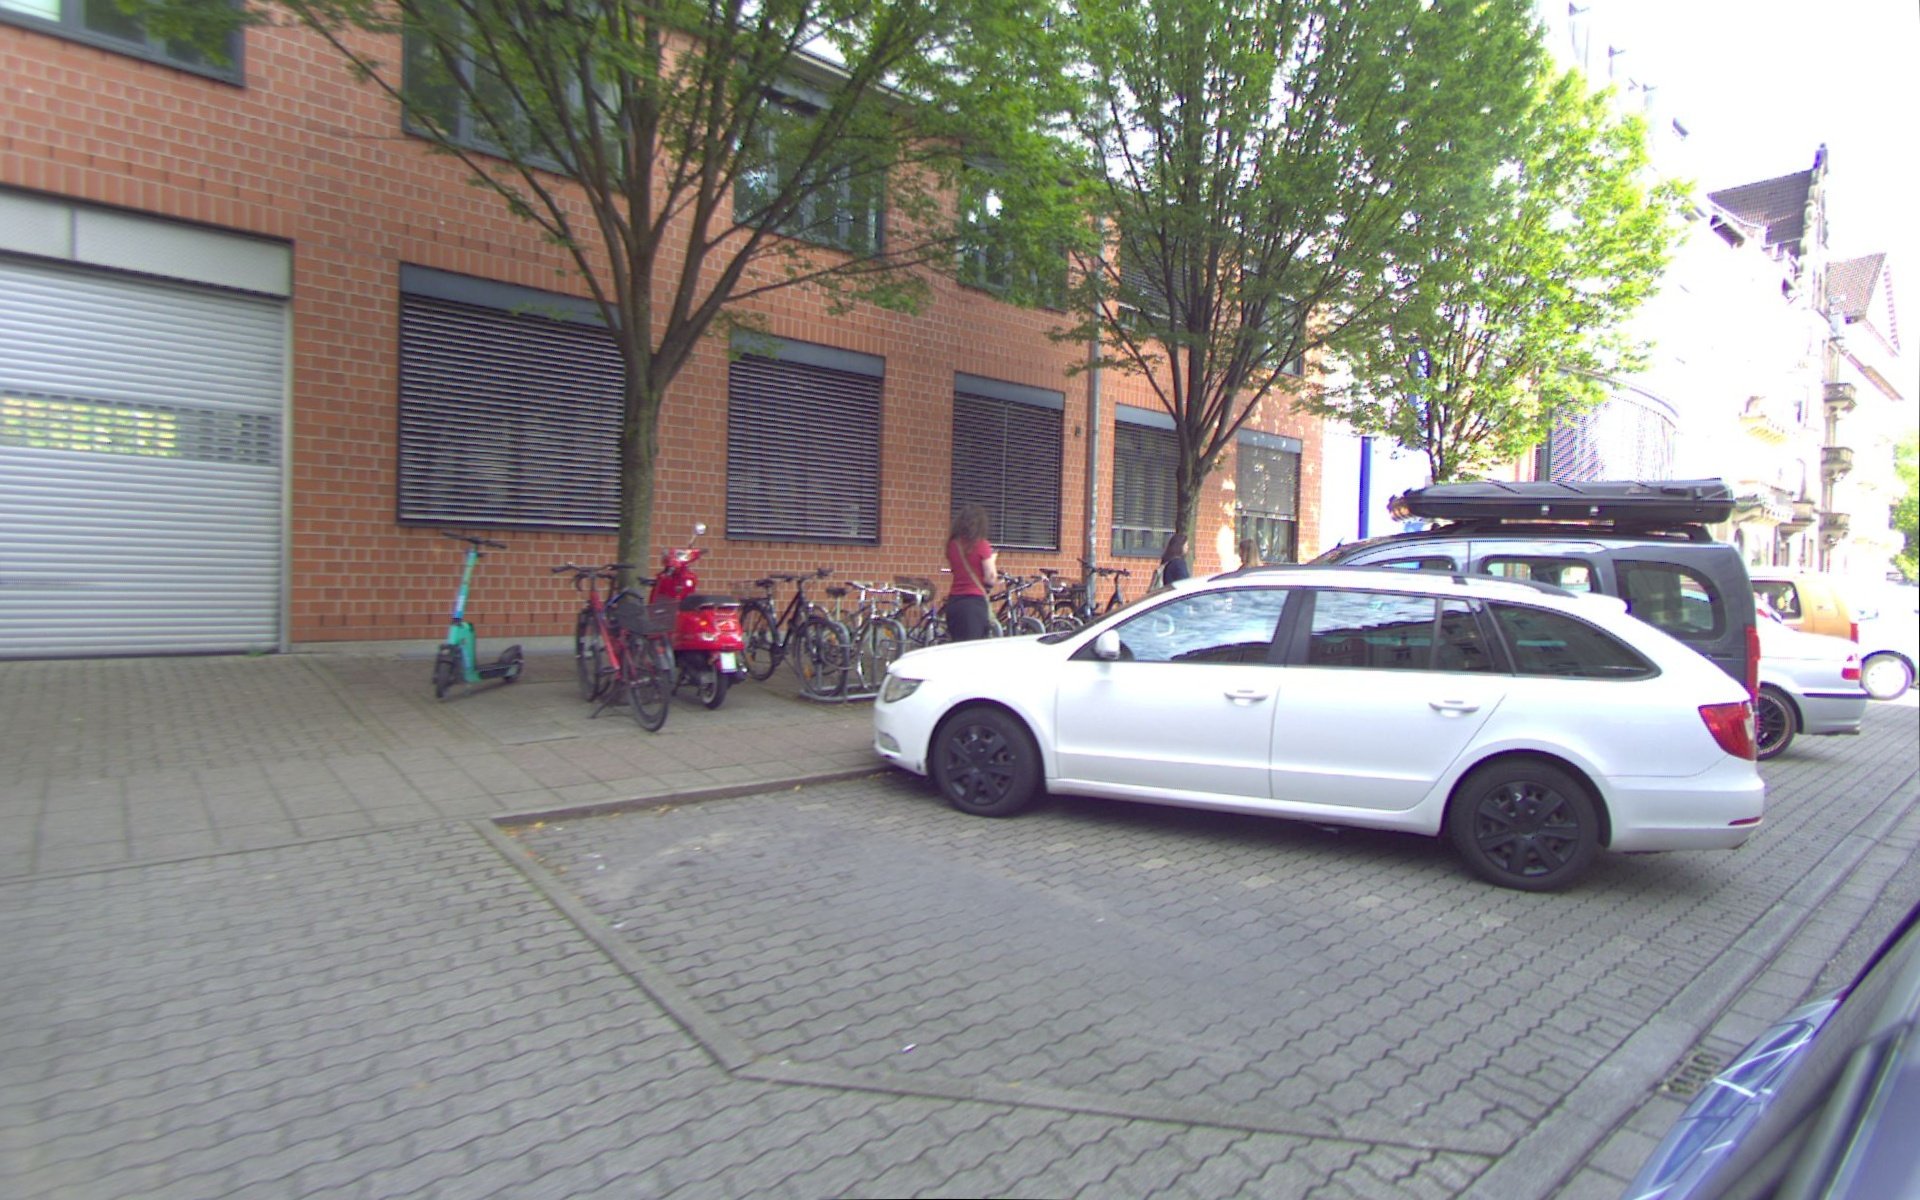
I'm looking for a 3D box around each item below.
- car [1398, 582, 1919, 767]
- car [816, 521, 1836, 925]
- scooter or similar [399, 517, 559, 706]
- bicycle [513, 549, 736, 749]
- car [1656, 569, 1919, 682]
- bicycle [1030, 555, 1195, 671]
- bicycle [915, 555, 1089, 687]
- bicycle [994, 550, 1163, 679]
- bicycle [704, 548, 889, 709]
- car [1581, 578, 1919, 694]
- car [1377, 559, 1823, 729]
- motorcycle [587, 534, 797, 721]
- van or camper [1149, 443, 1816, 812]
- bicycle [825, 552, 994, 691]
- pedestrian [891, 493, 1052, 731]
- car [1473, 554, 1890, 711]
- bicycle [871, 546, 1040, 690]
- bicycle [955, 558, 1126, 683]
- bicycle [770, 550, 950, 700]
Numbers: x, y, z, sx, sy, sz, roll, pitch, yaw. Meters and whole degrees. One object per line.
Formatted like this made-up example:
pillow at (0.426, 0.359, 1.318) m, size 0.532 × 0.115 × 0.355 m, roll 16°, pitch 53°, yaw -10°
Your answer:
car at (6.236, 0.566, 9.230) m, size 3.947 × 1.417 × 1.652 m, roll 1°, pitch 1°, yaw 19°
car at (1.723, 0.435, 5.981) m, size 4.745 × 1.562 × 1.861 m, roll 4°, pitch 3°, yaw 18°
scooter or similar at (-3.751, 0.033, 7.985) m, size 0.515 × 1.329 × 1.321 m, roll 4°, pitch 5°, yaw 4°
bicycle at (-2.500, 0.270, 7.359) m, size 0.806 × 1.108 × 2.026 m, roll 0°, pitch 6°, yaw -41°
car at (13.963, 0.368, 16.442) m, size 3.947 × 1.694 × 1.916 m, roll 1°, pitch 1°, yaw 19°
bicycle at (1.754, 0.111, 11.894) m, size 0.608 × 1.125 × 1.895 m, roll 0°, pitch 6°, yaw -42°
bicycle at (0.393, 0.175, 10.602) m, size 0.608 × 1.133 × 1.895 m, roll 0°, pitch 6°, yaw -42°
bicycle at (1.301, 0.117, 11.468) m, size 0.608 × 1.219 × 1.895 m, roll 0°, pitch 6°, yaw -42°
bicycle at (-1.488, 0.191, 8.908) m, size 0.608 × 1.154 × 1.920 m, roll 0°, pitch 6°, yaw -42°
car at (11.710, 0.458, 14.911) m, size 3.947 × 1.527 × 1.988 m, roll 1°, pitch 1°, yaw 18°
car at (6.926, 0.393, 11.497) m, size 3.874 × 1.660 × 1.935 m, roll 1°, pitch 1°, yaw 18°
motorcycle at (-2.250, 0.153, 8.303) m, size 0.813 × 1.241 × 1.984 m, roll 0°, pitch 6°, yaw -42°
van or camper at (3.568, 0.119, 7.672) m, size 3.949 × 2.206 × 1.987 m, roll 1°, pitch 1°, yaw 20°
bicycle at (-0.539, 0.159, 9.827) m, size 0.528 × 1.132 × 1.886 m, roll 0°, pitch 5°, yaw -42°
pedestrian at (0.092, 0.061, 8.126) m, size 0.937 × 1.759 × 0.753 m, roll 0°, pitch 5°, yaw -45°
car at (8.994, 0.326, 13.064) m, size 3.947 × 1.783 × 1.902 m, roll 1°, pitch 1°, yaw 19°
bicycle at (-0.091, 0.132, 10.209) m, size 0.608 × 1.219 × 1.781 m, roll 0°, pitch 6°, yaw -42°
bicycle at (0.833, 0.177, 11.044) m, size 0.608 × 1.115 × 1.895 m, roll 0°, pitch 6°, yaw -42°
bicycle at (-0.975, 0.178, 9.428) m, size 0.608 × 1.145 × 1.895 m, roll 0°, pitch 6°, yaw -42°
